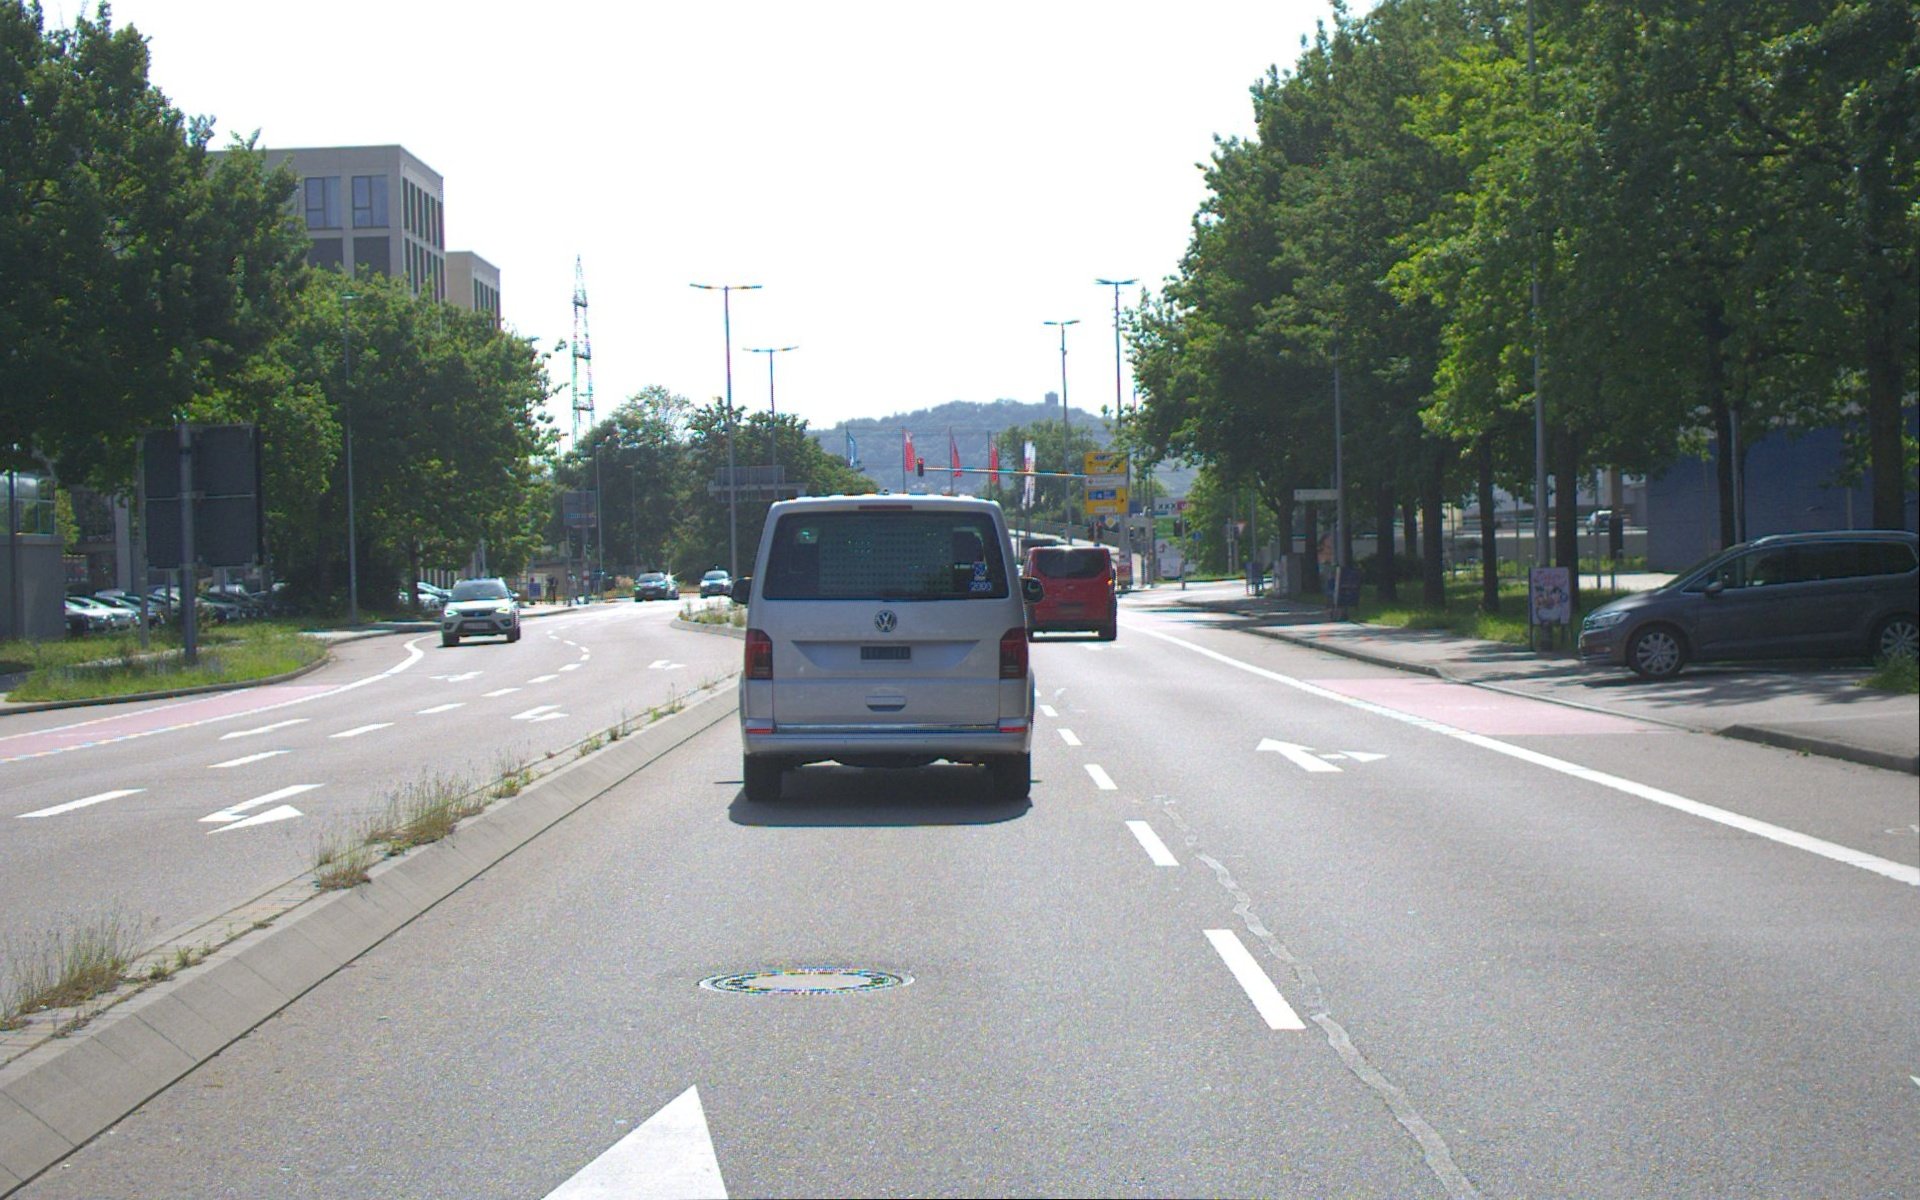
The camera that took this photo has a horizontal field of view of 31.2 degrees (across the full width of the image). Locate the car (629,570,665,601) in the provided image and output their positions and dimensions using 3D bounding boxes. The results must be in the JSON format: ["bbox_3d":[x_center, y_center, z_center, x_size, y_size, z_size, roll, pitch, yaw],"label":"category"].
[{"bbox_3d":[-17.403,-0.812,191.305,1.738,1.613,4.210,-4,1,-3],"label":"car"}]

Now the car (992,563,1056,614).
[{"bbox_3d":[1.883,-0.362,101.914,1.746,1.453,4.476,0,1,-1],"label":"car"}]

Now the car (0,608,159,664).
[{"bbox_3d":[-24.614,1.002,95.663,4.173,1.186,1.955,-5,1,-2],"label":"car"}]

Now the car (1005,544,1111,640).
[{"bbox_3d":[2.041,-0.192,72.875,1.967,1.961,5.126,0,1,-1],"label":"car"}]

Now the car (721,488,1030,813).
[{"bbox_3d":[-0.540,0.283,23.004,1.884,1.983,4.000,0,1,-1],"label":"car"}]

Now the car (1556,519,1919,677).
[{"bbox_3d":[9.530,-0.038,41.470,4.445,1.688,1.844,-3,0,7],"label":"car"}]

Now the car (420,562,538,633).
[{"bbox_3d":[-11.696,-0.080,83.842,1.994,1.612,4.103,-3,0,3],"label":"car"}]
